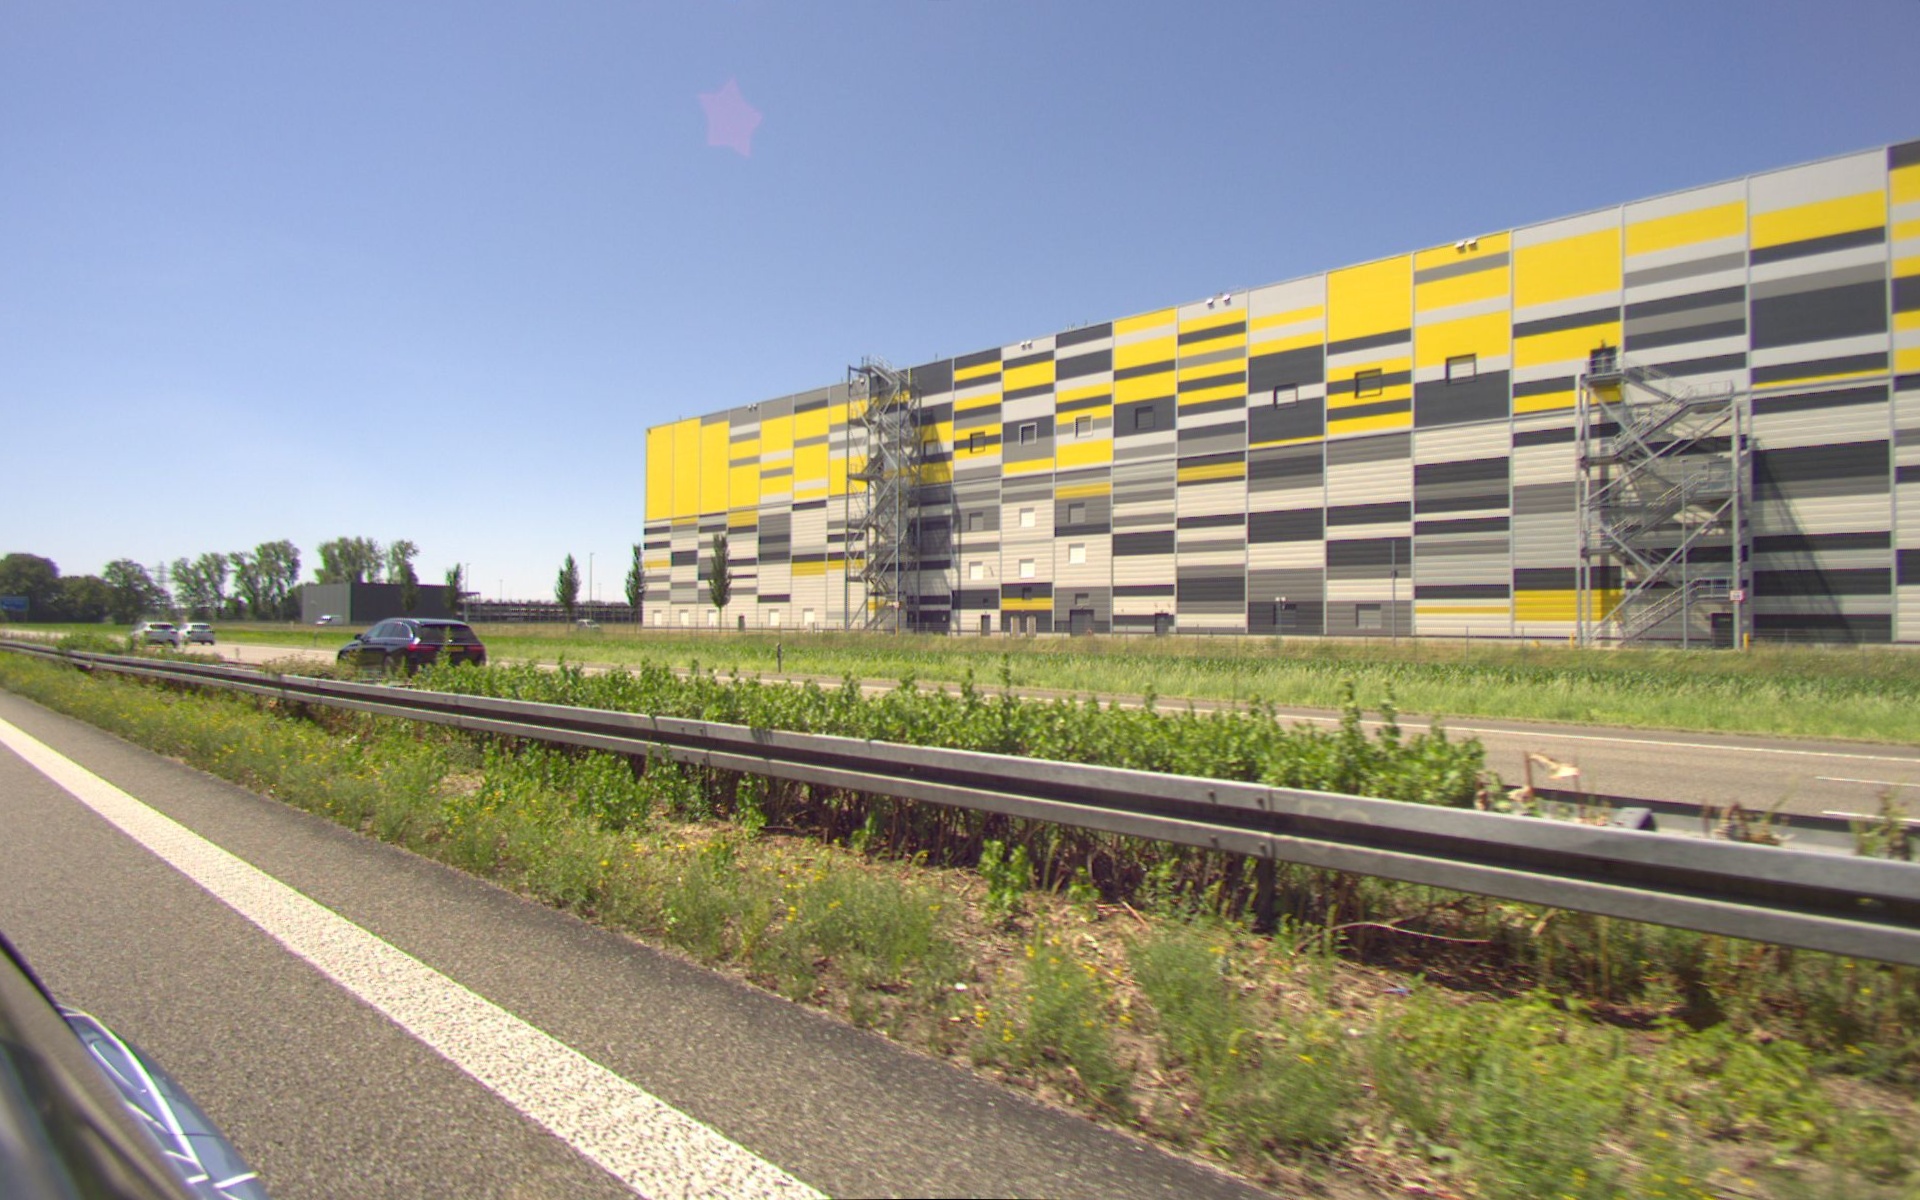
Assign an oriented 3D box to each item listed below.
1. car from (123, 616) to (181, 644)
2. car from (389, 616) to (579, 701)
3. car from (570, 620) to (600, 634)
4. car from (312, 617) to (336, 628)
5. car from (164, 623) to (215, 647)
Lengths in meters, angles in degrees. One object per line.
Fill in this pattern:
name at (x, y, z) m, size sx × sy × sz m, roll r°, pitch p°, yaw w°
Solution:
car at (-46.092, 1.680, 57.709) m, size 4.481 × 1.544 × 1.780 m, roll -1°, pitch -2°, yaw 41°
car at (-9.789, 1.112, 20.656) m, size 4.578 × 1.544 × 1.844 m, roll -1°, pitch -2°, yaw 41°
car at (-50.390, 3.611, 135.973) m, size 4.266 × 1.750 × 1.808 m, roll -1°, pitch -3°, yaw 40°
car at (-134.011, 4.756, 213.126) m, size 6.078 × 2.265 × 2.527 m, roll -1°, pitch -3°, yaw 40°
car at (-52.391, 2.369, 68.807) m, size 4.629 × 1.544 × 1.781 m, roll -1°, pitch -2°, yaw 40°
